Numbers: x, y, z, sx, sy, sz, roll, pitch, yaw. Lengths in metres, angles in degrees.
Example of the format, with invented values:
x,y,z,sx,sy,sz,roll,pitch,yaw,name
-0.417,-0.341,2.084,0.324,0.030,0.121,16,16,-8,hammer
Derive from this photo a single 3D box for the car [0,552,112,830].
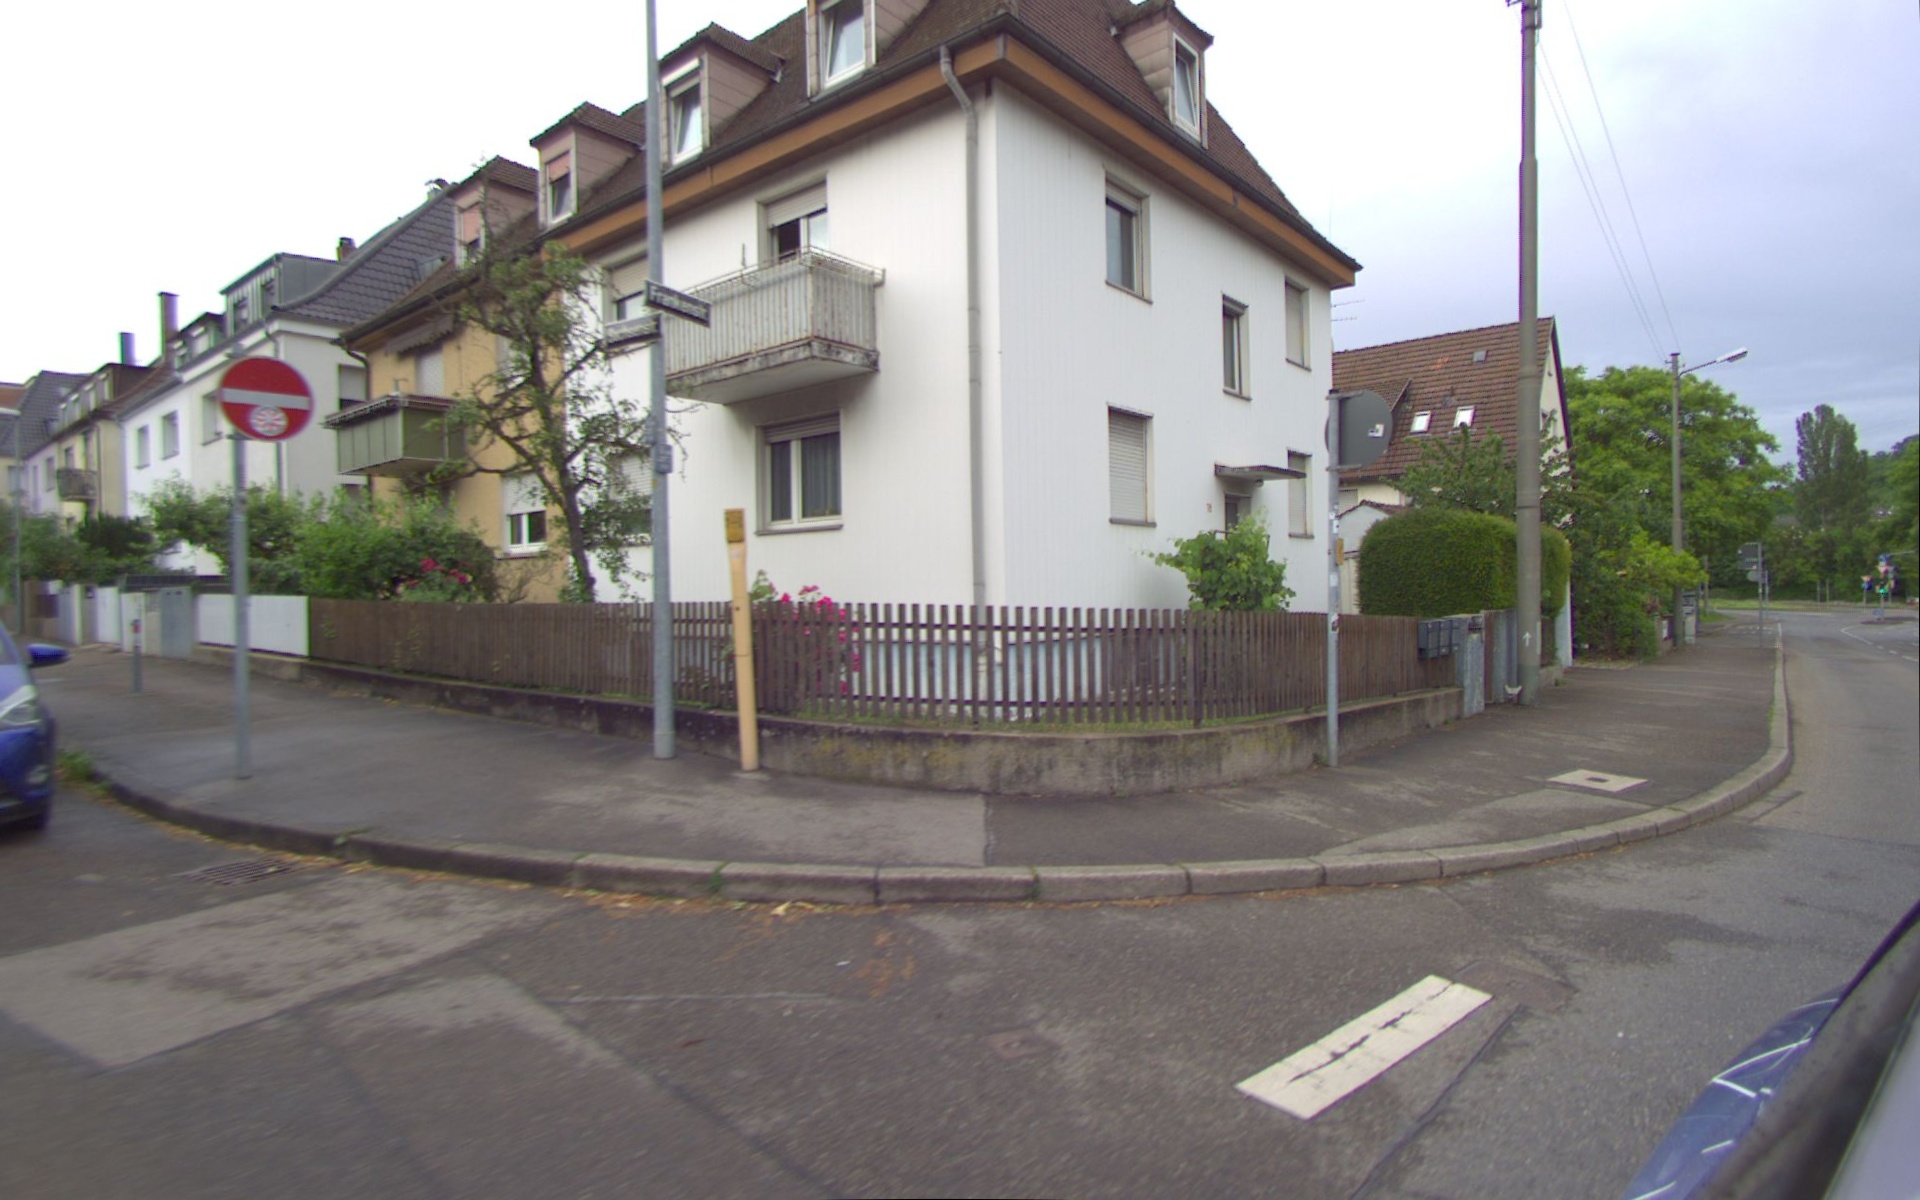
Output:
x,y,z,sx,sy,sz,roll,pitch,yaw,name
-6.998,0.452,6.493,4.112,1.499,1.857,1,0,43,car
